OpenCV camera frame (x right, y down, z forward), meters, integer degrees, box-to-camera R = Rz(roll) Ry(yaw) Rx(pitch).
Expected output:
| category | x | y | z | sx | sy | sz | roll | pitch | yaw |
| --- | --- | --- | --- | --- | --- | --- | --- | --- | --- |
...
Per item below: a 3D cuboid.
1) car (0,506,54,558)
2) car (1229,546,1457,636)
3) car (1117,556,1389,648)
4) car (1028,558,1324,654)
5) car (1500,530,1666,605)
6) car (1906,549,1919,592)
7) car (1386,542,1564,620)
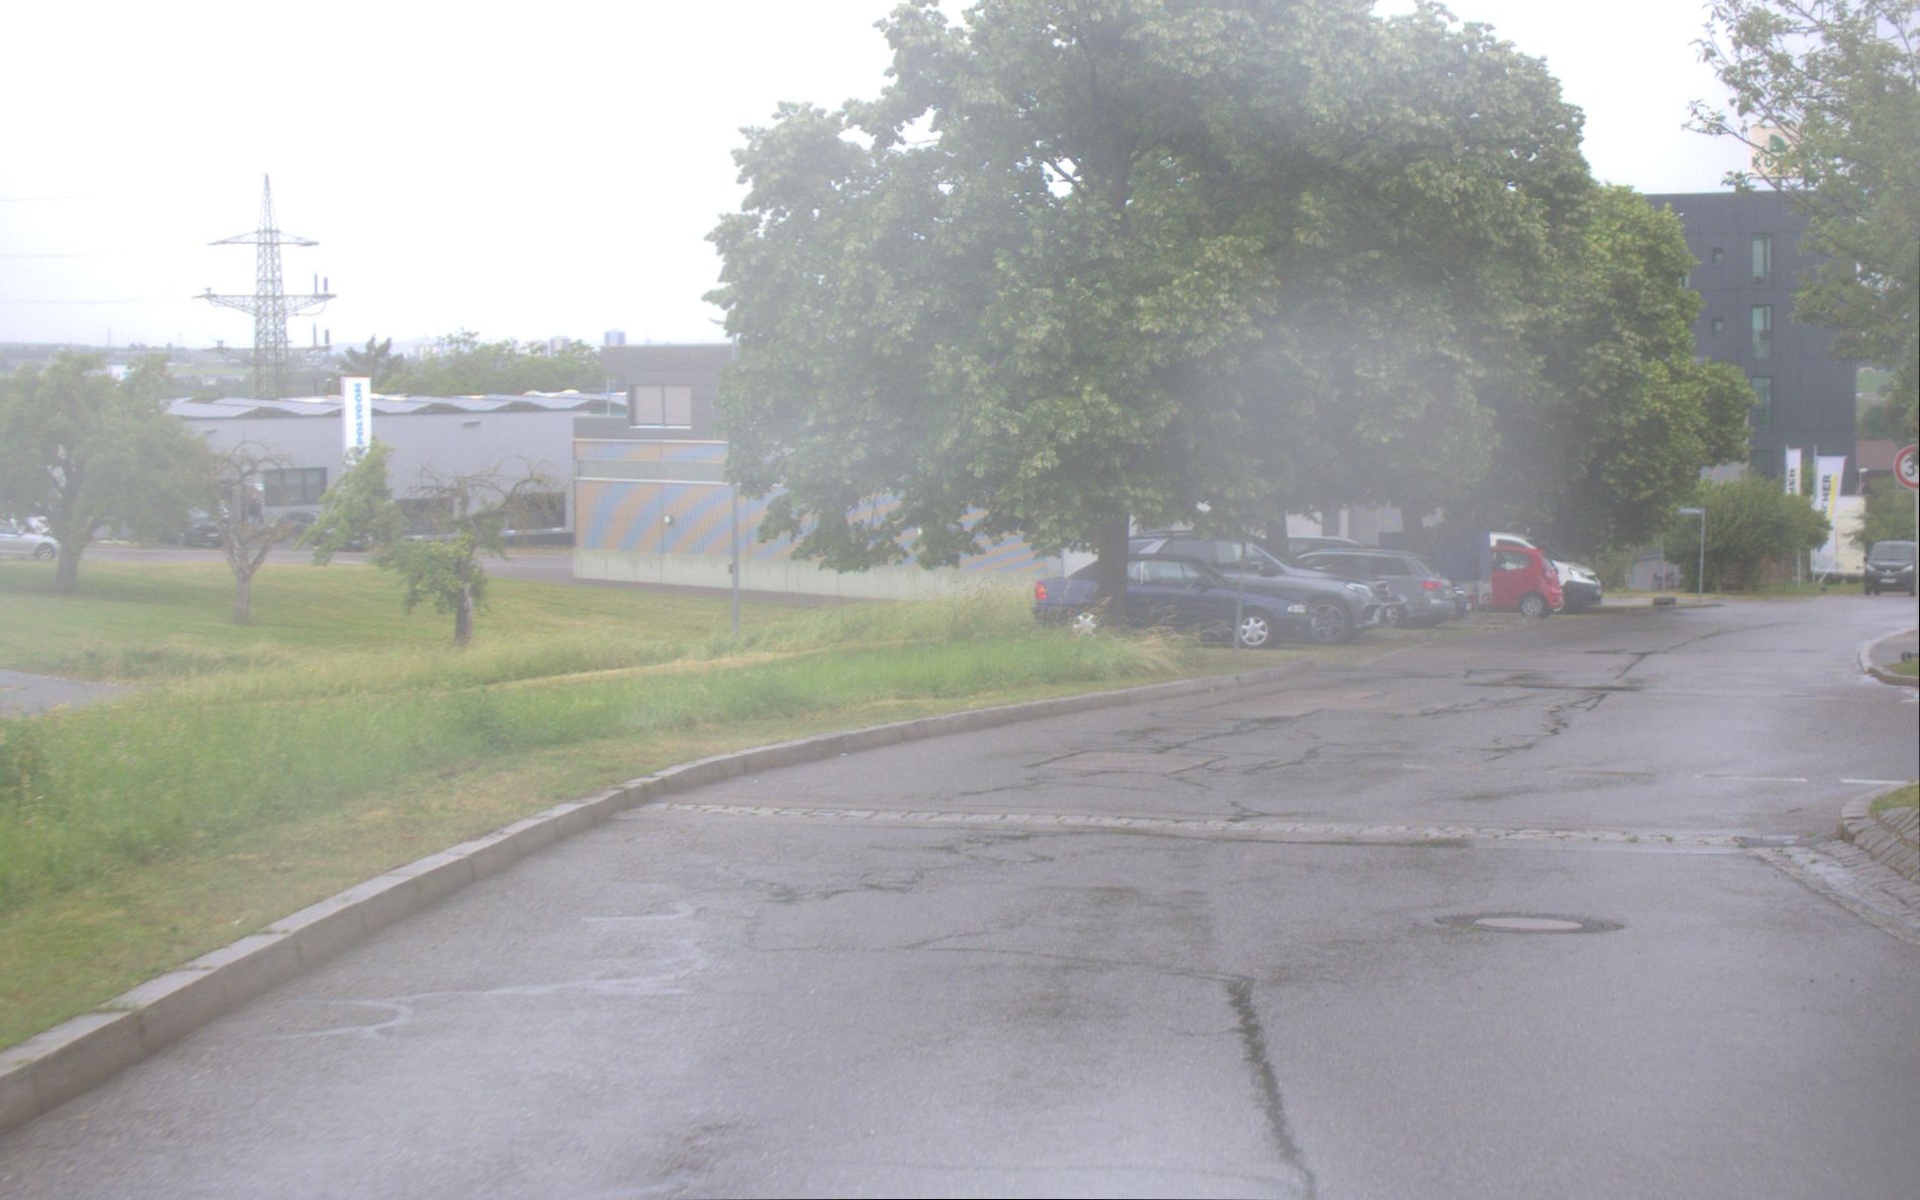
| category | x | y | z | sx | sy | sz | roll | pitch | yaw |
| --- | --- | --- | --- | --- | --- | --- | --- | --- | --- |
| car | -34.095 | -2.423 | 120.225 | 4.263 | 1.696 | 1.797 | 1 | 3 | -39 |
| car | 6.863 | -0.177 | 61.397 | 3.872 | 1.542 | 1.772 | 0 | 1 | 13 |
| car | 4.599 | 0.025 | 53.786 | 3.989 | 1.356 | 1.853 | -1 | 1 | 13 |
| car | 3.259 | 0.084 | 51.613 | 4.168 | 1.350 | 1.861 | -1 | 1 | 13 |
| car | 15.733 | -0.815 | 86.714 | 3.989 | 1.804 | 1.999 | -1 | 1 | 13 |
| car | 36.937 | -1.141 | 130.013 | 1.877 | 1.591 | 3.996 | -1 | 1 | 20 |
| car | 11.098 | -0.419 | 73.980 | 3.564 | 1.600 | 1.691 | -1 | 1 | 16 |
